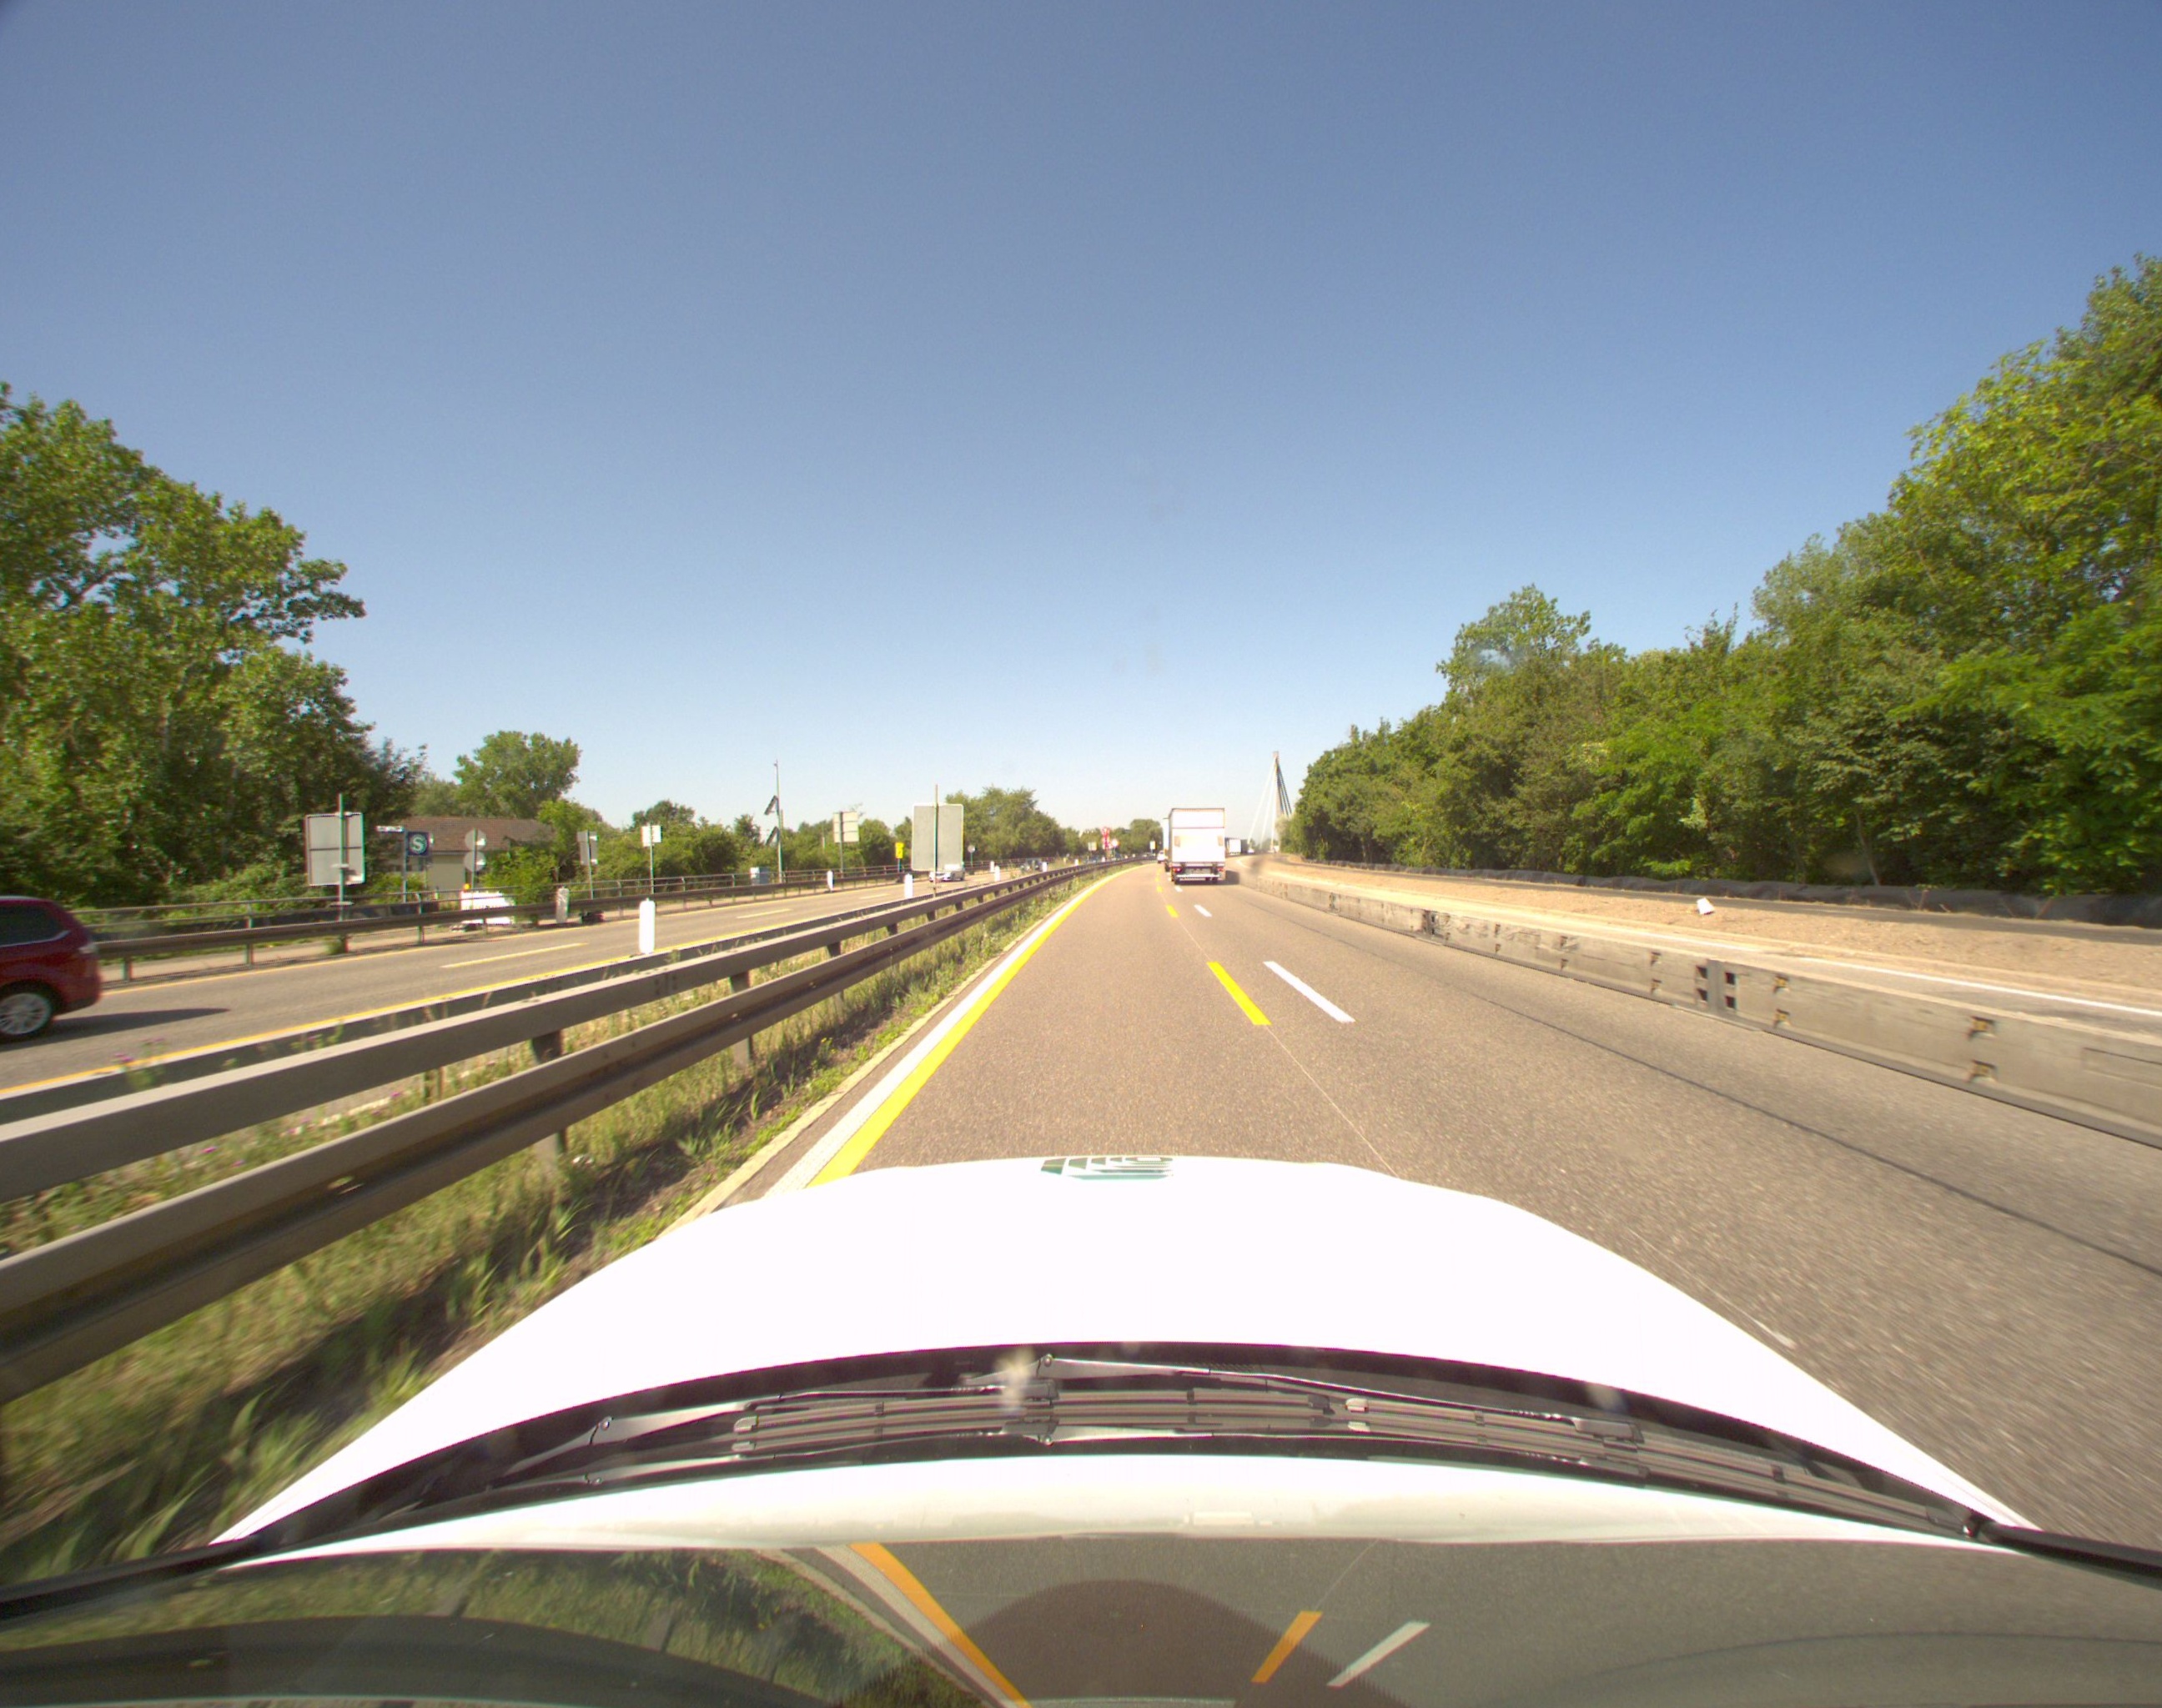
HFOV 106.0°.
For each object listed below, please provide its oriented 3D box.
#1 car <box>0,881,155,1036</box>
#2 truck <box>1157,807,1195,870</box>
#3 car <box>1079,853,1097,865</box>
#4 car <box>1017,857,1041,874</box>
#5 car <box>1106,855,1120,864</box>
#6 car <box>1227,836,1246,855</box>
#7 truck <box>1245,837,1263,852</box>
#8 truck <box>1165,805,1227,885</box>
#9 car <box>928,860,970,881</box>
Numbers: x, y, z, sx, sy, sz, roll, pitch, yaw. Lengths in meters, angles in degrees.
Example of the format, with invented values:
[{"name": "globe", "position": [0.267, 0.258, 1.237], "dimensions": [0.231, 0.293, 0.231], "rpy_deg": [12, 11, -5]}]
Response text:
[{"name": "car", "position": [-13.548, 1.298, 8.431], "dimensions": [1.901, 1.734, 5.025], "rpy_deg": [-3, 0, 4]}, {"name": "truck", "position": [7.148, -1.116, 61.958], "dimensions": [2.622, 4.468, 7.242], "rpy_deg": [0, 0, 4]}, {"name": "car", "position": [1.008, 0.697, 116.818], "dimensions": [1.983, 1.552, 4.008], "rpy_deg": [-2, 0, 7]}, {"name": "car", "position": [-5.050, 1.076, 79.860], "dimensions": [1.730, 1.498, 4.005], "rpy_deg": [-2, 0, 5]}, {"name": "car", "position": [5.937, 0.991, 150.449], "dimensions": [1.981, 1.552, 4.011], "rpy_deg": [-2, 0, 10]}, {"name": "car", "position": [37.635, -2.073, 196.644], "dimensions": [4.180, 4.251, 10.696], "rpy_deg": [-4, 0, 11]}, {"name": "truck", "position": [52.397, -2.932, 246.467], "dimensions": [4.186, 4.266, 10.288], "rpy_deg": [-4, 0, 17]}, {"name": "truck", "position": [5.311, -0.405, 38.719], "dimensions": [2.621, 3.427, 7.244], "rpy_deg": [0, 0, 6]}, {"name": "car", "position": [-10.107, 1.232, 62.895], "dimensions": [1.875, 1.420, 4.869], "rpy_deg": [-2, 0, 7]}]
